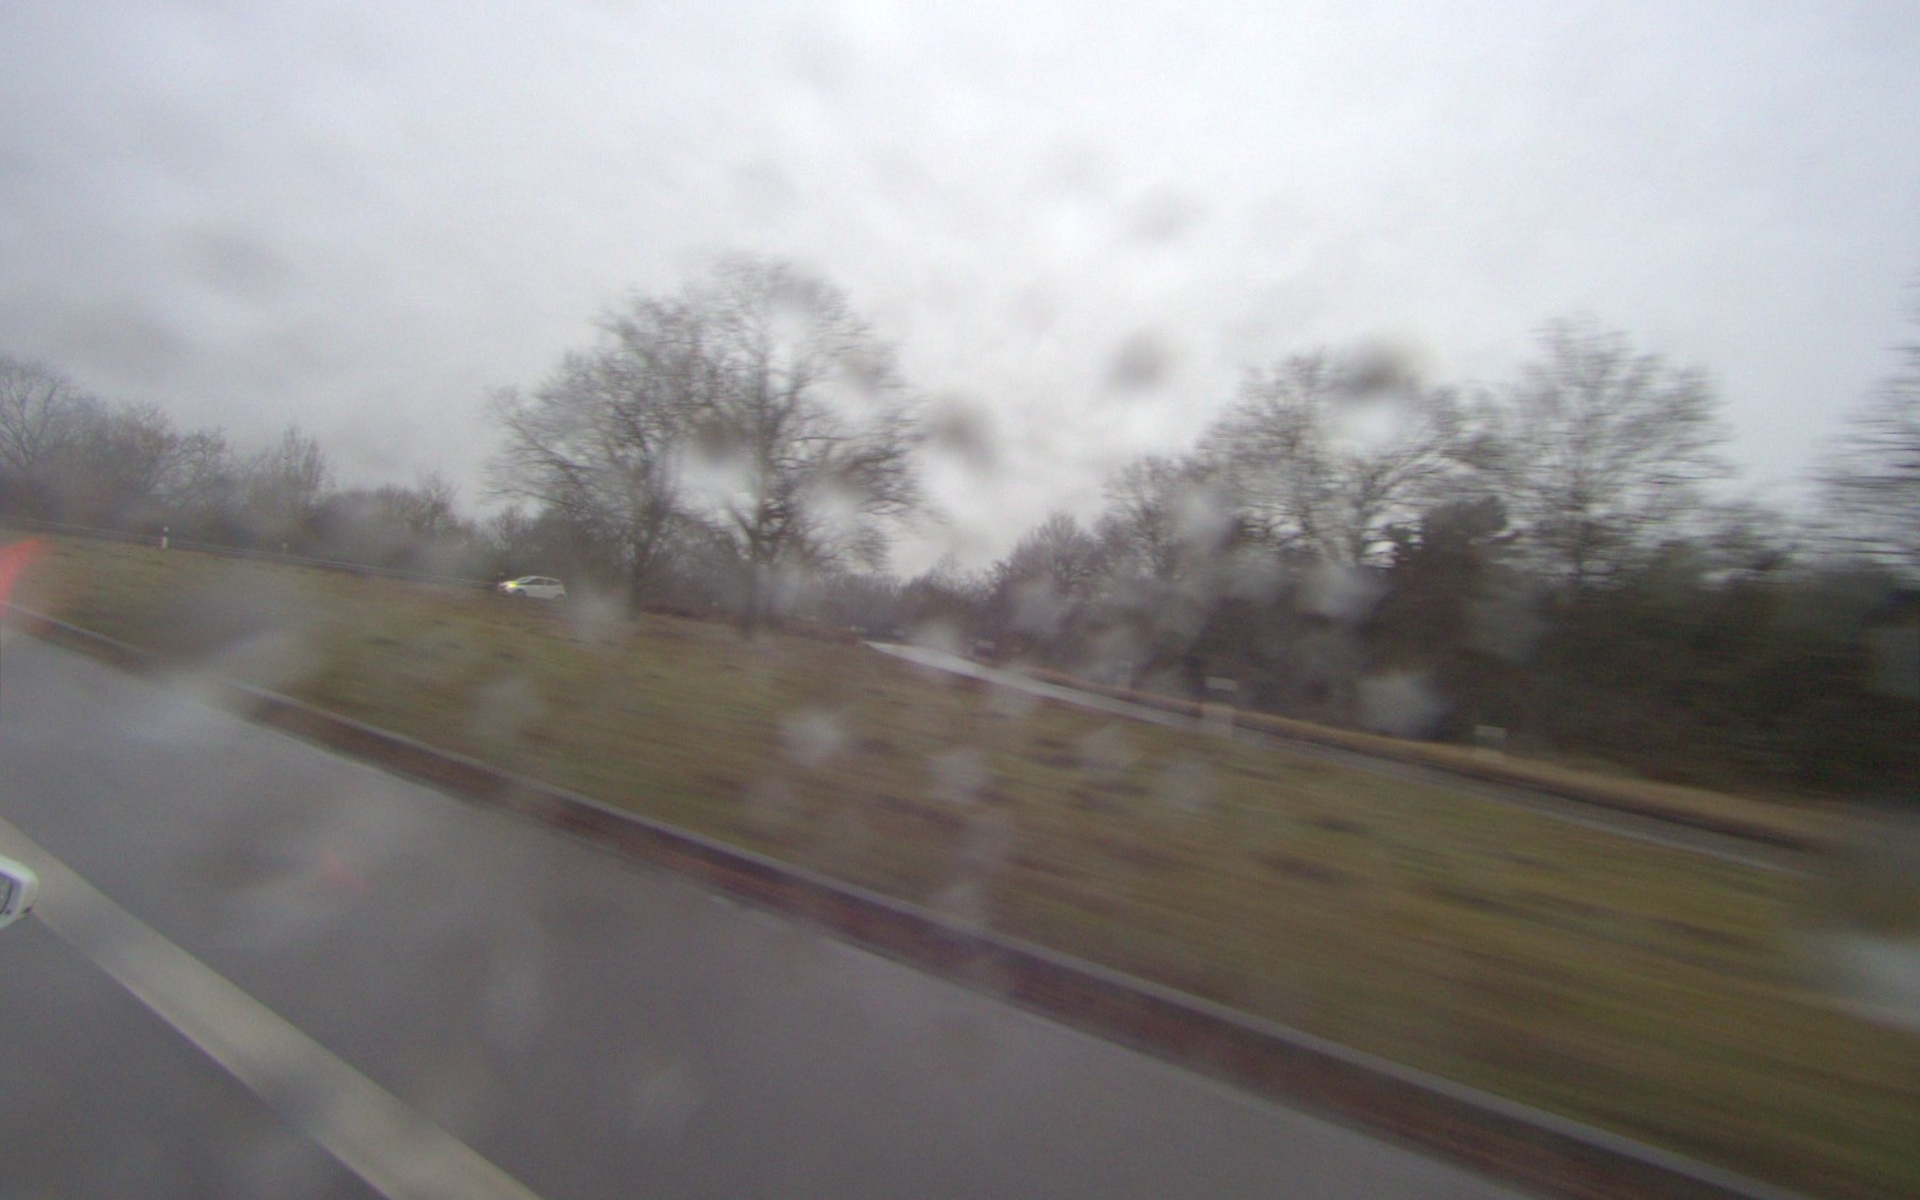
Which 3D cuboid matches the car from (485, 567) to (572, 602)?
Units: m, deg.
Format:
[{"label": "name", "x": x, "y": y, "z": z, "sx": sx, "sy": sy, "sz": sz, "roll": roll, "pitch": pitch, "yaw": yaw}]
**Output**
[{"label": "car", "x": -24.136, "y": -0.875, "z": 56.346, "sx": 3.976, "sy": 1.361, "sz": 1.975, "roll": 9, "pitch": -1, "yaw": -44}]
